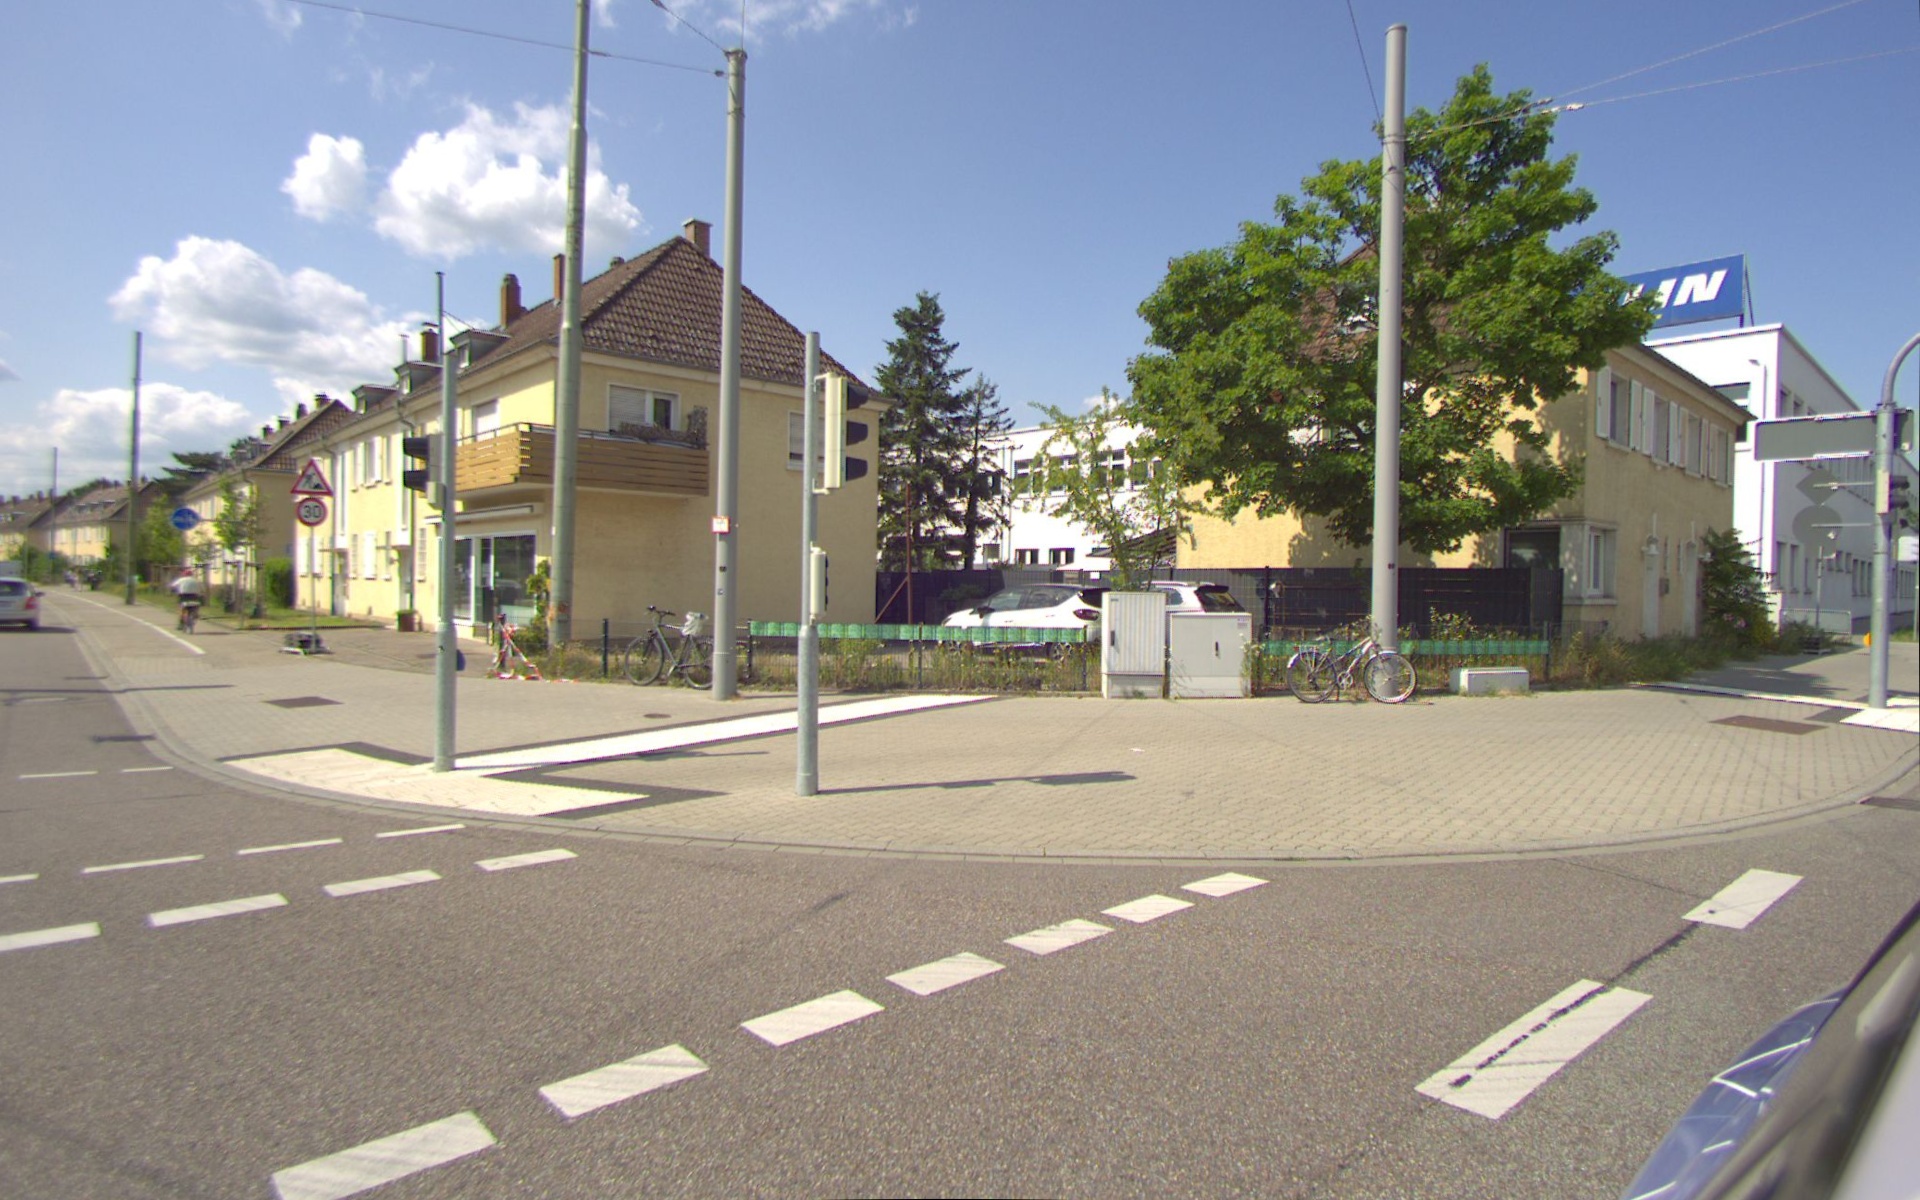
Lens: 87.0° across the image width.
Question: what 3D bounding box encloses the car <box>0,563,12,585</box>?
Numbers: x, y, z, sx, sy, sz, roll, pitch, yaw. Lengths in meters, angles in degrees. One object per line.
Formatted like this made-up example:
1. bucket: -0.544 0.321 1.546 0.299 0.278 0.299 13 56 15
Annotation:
1. car: -80.393 -2.165 84.229 3.986 1.746 1.969 -1 0 44

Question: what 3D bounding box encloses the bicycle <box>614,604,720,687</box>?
1. bicycle: -4.231 0.641 14.588 1.556 1.152 0.378 -1 0 23

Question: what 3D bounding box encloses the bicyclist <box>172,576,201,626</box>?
1. bicyclist: -19.722 0.008 25.804 0.501 1.249 0.577 -1 1 -45

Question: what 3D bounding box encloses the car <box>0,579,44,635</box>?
1. car: -25.872 0.148 27.128 4.005 1.421 1.707 2 0 45

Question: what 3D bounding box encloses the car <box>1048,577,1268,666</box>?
1. car: 3.929 0.372 20.557 4.106 1.617 1.772 1 0 44

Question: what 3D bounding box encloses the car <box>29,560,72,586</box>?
1. car: -65.878 -1.919 73.290 3.986 1.746 1.969 -1 0 44

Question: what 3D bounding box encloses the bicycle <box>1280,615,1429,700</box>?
1. bicycle: 5.074 0.733 13.060 1.722 1.031 0.463 -1 0 0

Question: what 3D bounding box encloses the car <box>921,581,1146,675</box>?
1. car: 1.324 0.452 19.346 4.104 1.617 1.772 1 0 43

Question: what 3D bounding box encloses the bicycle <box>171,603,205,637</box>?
1. bicycle: -19.626 0.493 25.712 0.497 0.791 1.580 -1 2 -44
